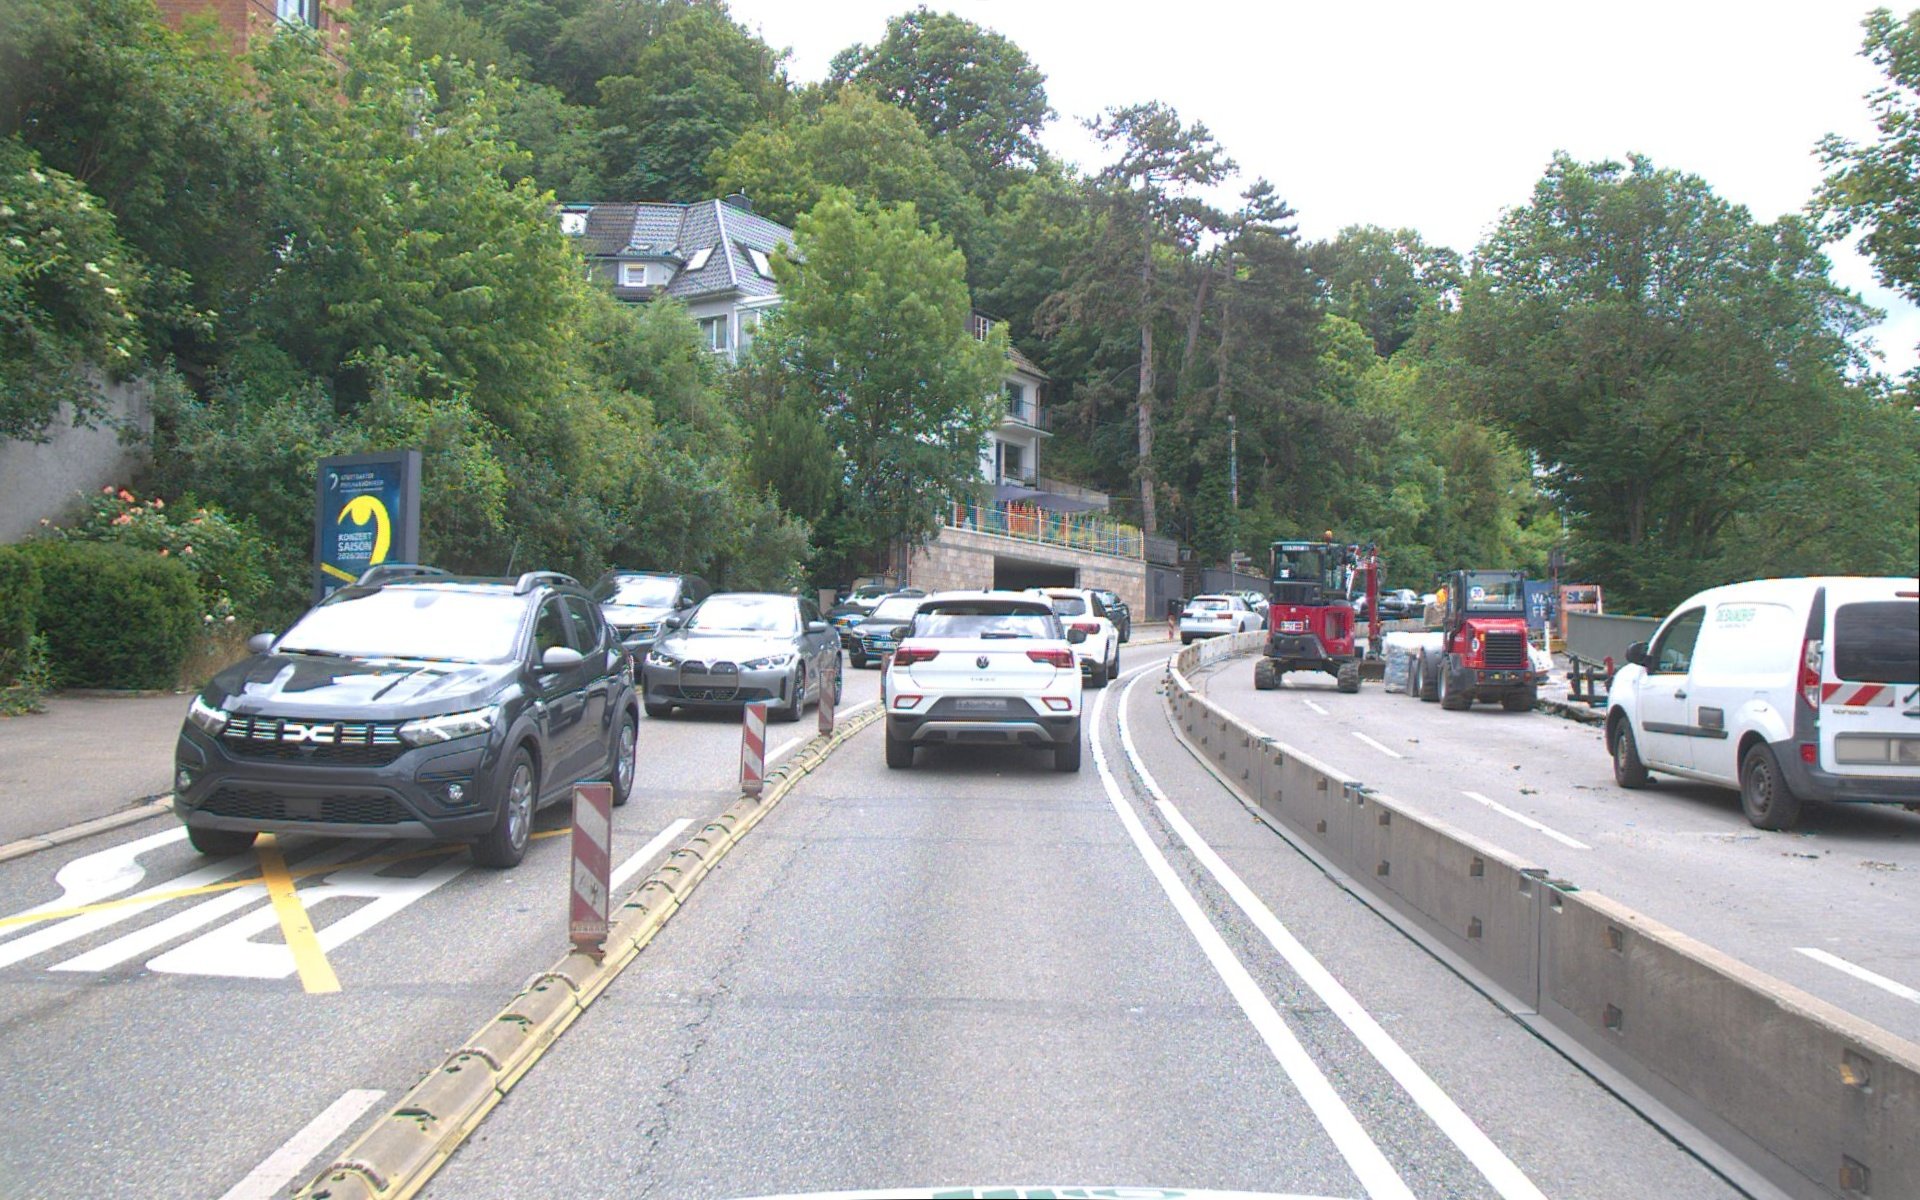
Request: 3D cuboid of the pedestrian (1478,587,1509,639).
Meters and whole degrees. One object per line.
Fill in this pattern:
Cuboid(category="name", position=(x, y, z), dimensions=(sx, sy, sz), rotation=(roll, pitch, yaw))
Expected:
Cuboid(category="pedestrian", position=(17.745, 0.430, 55.035), dimensions=(0.769, 1.717, 0.782), rotation=(0, 0, 36))

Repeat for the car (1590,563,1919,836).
Cuboid(category="car", position=(6.656, 0.659, 13.168), dimensions=(1.794, 1.811, 4.270), rotation=(1, 0, 2))

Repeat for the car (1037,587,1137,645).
Cuboid(category="car", position=(3.803, 0.455, 48.878), dimensions=(1.731, 1.595, 4.229), rotation=(2, 1, 22))

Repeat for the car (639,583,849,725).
Cuboid(category="car", position=(-2.561, 0.613, 20.658), dimensions=(1.758, 1.508, 4.330), rotation=(2, 0, 3))

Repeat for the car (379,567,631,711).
Cuboid(category="car", position=(-5.553, 0.435, 20.714), dimensions=(1.757, 1.536, 4.002), rotation=(3, 0, 4))

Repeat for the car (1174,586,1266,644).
Cuboid(category="car", position=(7.954, 0.417, 50.387), dimensions=(1.773, 1.692, 3.998), rotation=(0, 0, 24))

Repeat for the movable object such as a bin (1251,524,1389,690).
Cuboid(category="movable object such as a bin", position=(6.606, 0.096, 29.960), dimensions=(2.165, 2.709, 4.948), rotation=(1, 0, 15))

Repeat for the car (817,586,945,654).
Cuboid(category="car", position=(-1.880, 0.463, 40.914), dimensions=(1.699, 1.476, 4.686), rotation=(4, 1, 16))

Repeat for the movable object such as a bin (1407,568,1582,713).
Cuboid(category="movable object such as a bin", position=(7.965, 0.541, 25.009), dimensions=(1.665, 1.977, 4.168), rotation=(1, 0, 6))

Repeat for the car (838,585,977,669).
Cuboid(category="car", position=(-0.975, 0.490, 33.314), dimensions=(1.757, 1.471, 4.366), rotation=(2, 1, 12))

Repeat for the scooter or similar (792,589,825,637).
Cuboid(category="scooter or similar", position=(-4.029, 0.344, 43.980), dimensions=(0.407, 1.253, 1.122), rotation=(3, 0, 19))

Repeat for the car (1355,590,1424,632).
Cuboid(category="car", position=(18.002, 0.448, 69.269), dimensions=(1.776, 1.692, 3.992), rotation=(0, 0, 30))

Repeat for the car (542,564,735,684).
Cuboid(category="car", position=(-4.929, 0.346, 25.932), dimensions=(1.651, 1.634, 4.189), rotation=(3, 0, 7))

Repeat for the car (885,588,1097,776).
Cuboid(category="car", position=(0.263, 0.672, 15.886), dimensions=(1.772, 1.558, 4.000), rotation=(0, 1, 0))

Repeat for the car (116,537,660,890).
Cuboid(category="car", position=(-3.124, 0.544, 9.928), dimensions=(1.777, 1.650, 3.820), rotation=(2, 0, 2))

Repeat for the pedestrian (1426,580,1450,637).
Cuboid(category="pedestrian", position=(16.262, 0.279, 56.232), dimensions=(0.675, 1.940, 0.826), rotation=(0, 0, 8))

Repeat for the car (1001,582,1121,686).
Cuboid(category="car", position=(1.843, 0.552, 29.066), dimensions=(1.771, 1.692, 4.003), rotation=(0, 0, 8))

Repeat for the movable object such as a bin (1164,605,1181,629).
Cuboid(category="movable object such as a bin", position=(8.818, 0.710, 68.691), dimensions=(0.539, 0.994, 0.508), rotation=(0, -1, 34))

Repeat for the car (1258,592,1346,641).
Cuboid(category="car", position=(12.431, 0.568, 59.964), dimensions=(1.778, 1.692, 3.988), rotation=(0, 0, 33))

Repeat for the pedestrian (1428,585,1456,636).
Cuboid(category="pedestrian", position=(16.701, 0.349, 57.283), dimensions=(0.858, 1.761, 0.878), rotation=(0, 0, 20))
